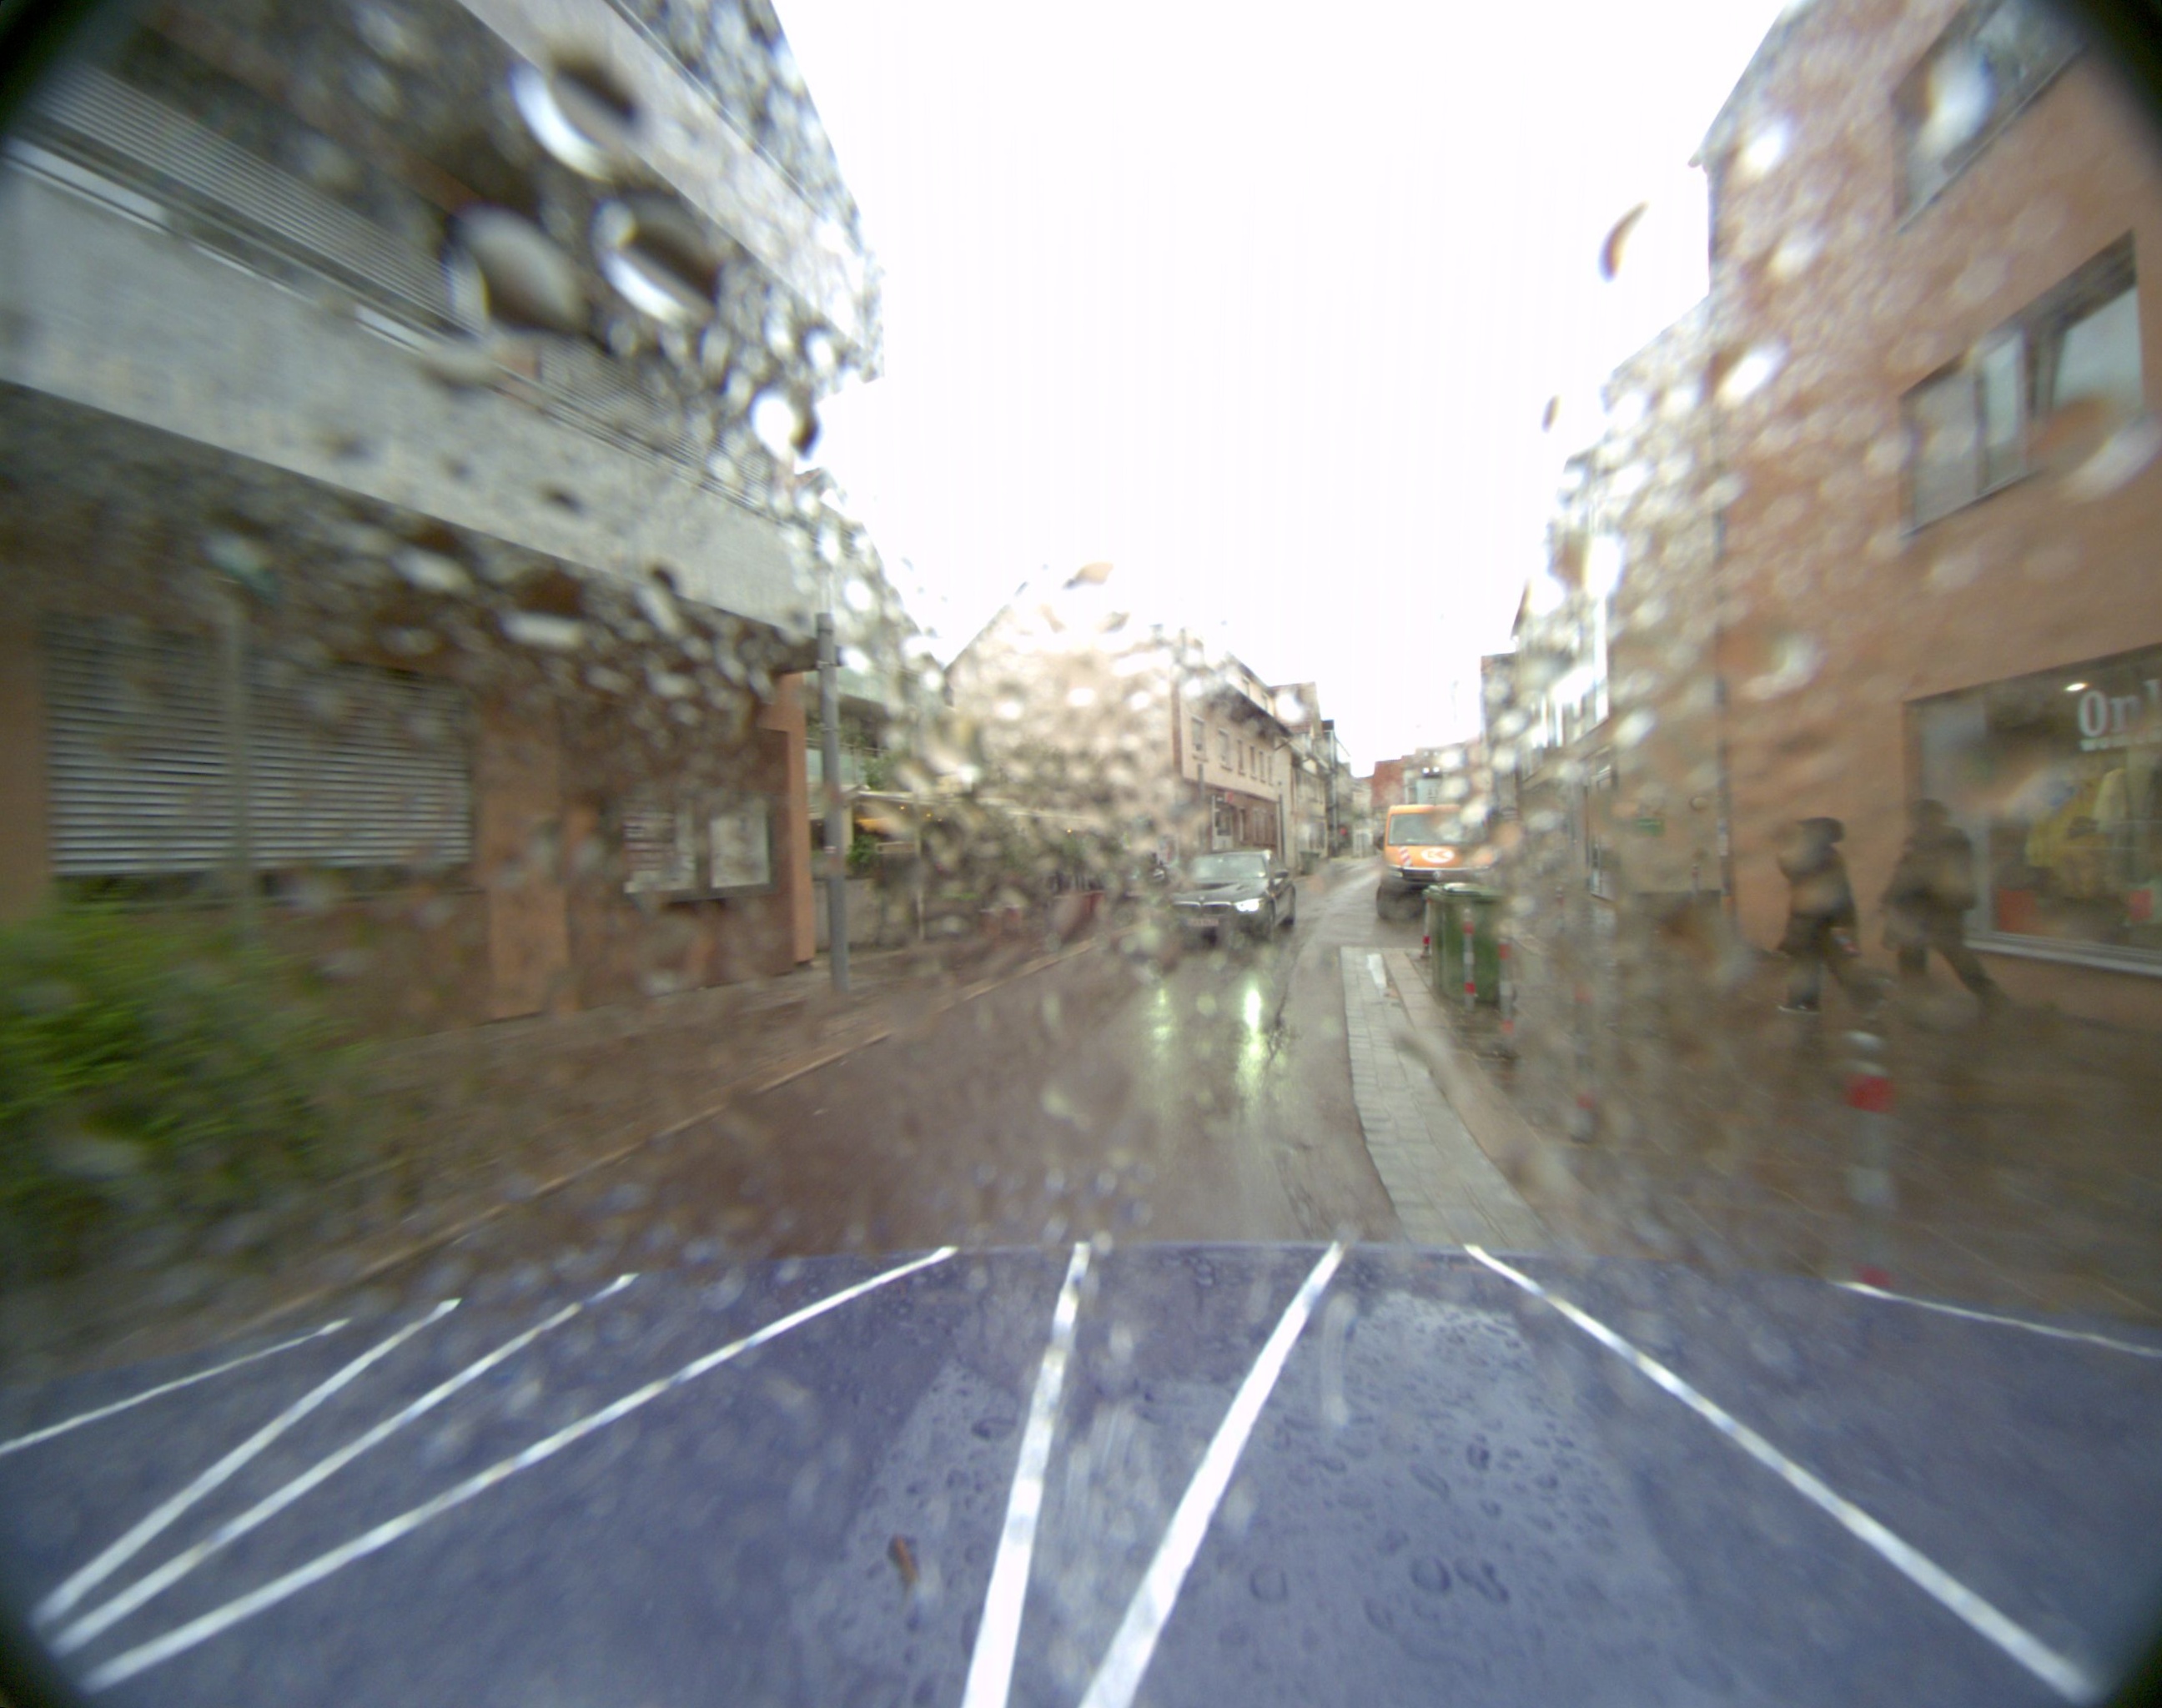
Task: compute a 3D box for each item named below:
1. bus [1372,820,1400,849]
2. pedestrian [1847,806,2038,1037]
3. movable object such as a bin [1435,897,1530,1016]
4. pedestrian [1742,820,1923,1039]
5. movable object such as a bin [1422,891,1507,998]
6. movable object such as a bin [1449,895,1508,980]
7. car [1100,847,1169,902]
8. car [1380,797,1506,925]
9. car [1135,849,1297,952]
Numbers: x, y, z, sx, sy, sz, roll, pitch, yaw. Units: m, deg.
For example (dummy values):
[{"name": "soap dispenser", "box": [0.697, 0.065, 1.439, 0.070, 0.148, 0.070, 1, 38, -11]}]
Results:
[{"name": "bus", "box": [35.141, -2.213, 87.363, 2.606, 3.175, 7.387, -1, 1, 24]}, {"name": "pedestrian", "box": [6.811, 0.509, 6.060, 0.623, 1.702, 0.810, -3, 1, 16]}, {"name": "movable object such as a bin", "box": [3.784, 0.948, 7.209, 0.657, 1.031, 0.610, -2, 1, 14]}, {"name": "pedestrian", "box": [5.980, 0.576, 6.102, 0.716, 1.630, 0.746, -3, 1, 16]}, {"name": "movable object such as a bin", "box": [3.971, 0.923, 7.915, 0.657, 1.031, 0.610, -2, 1, 14]}, {"name": "movable object such as a bin", "box": [4.668, 0.963, 8.949, 0.582, 0.922, 0.482, -1, 1, 24]}, {"name": "car", "box": [1.423, 0.525, 21.600, 1.737, 1.349, 3.936, -2, 1, 1]}, {"name": "car", "box": [7.535, 0.080, 16.266, 1.995, 2.227, 5.869, -1, 1, 22]}, {"name": "car", "box": [2.543, 0.685, 13.269, 1.944, 1.394, 4.426, -2, 1, 21]}]
